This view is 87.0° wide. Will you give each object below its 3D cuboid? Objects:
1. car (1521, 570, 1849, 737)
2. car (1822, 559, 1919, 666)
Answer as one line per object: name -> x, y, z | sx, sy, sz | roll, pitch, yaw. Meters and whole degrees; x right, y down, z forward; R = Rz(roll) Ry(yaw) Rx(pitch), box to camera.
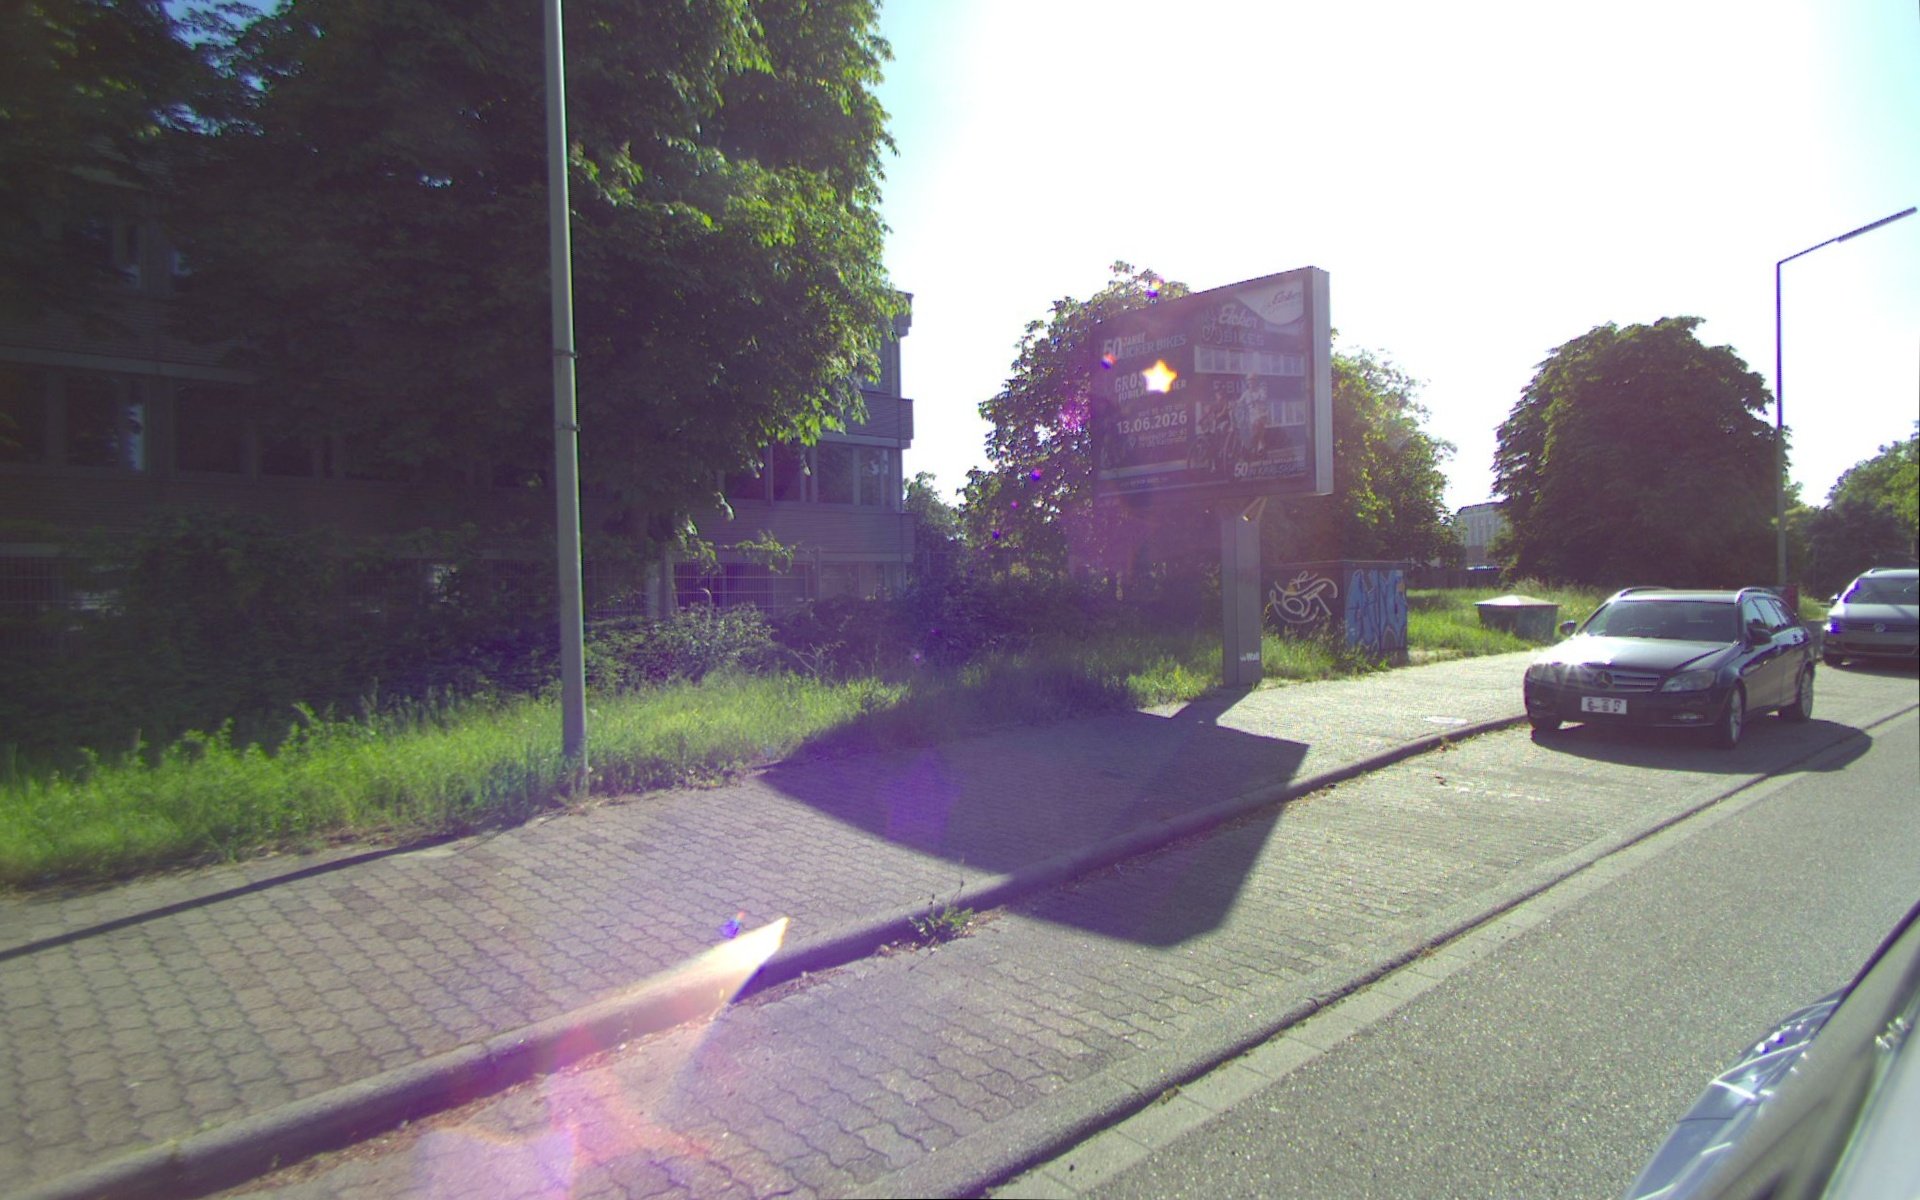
car -> 7.872, 0.426, 10.837 | 4.346, 1.437, 1.812 | -1, 0, -40
car -> 17.301, 0.139, 18.110 | 4.527, 1.743, 1.878 | -2, 2, -37
